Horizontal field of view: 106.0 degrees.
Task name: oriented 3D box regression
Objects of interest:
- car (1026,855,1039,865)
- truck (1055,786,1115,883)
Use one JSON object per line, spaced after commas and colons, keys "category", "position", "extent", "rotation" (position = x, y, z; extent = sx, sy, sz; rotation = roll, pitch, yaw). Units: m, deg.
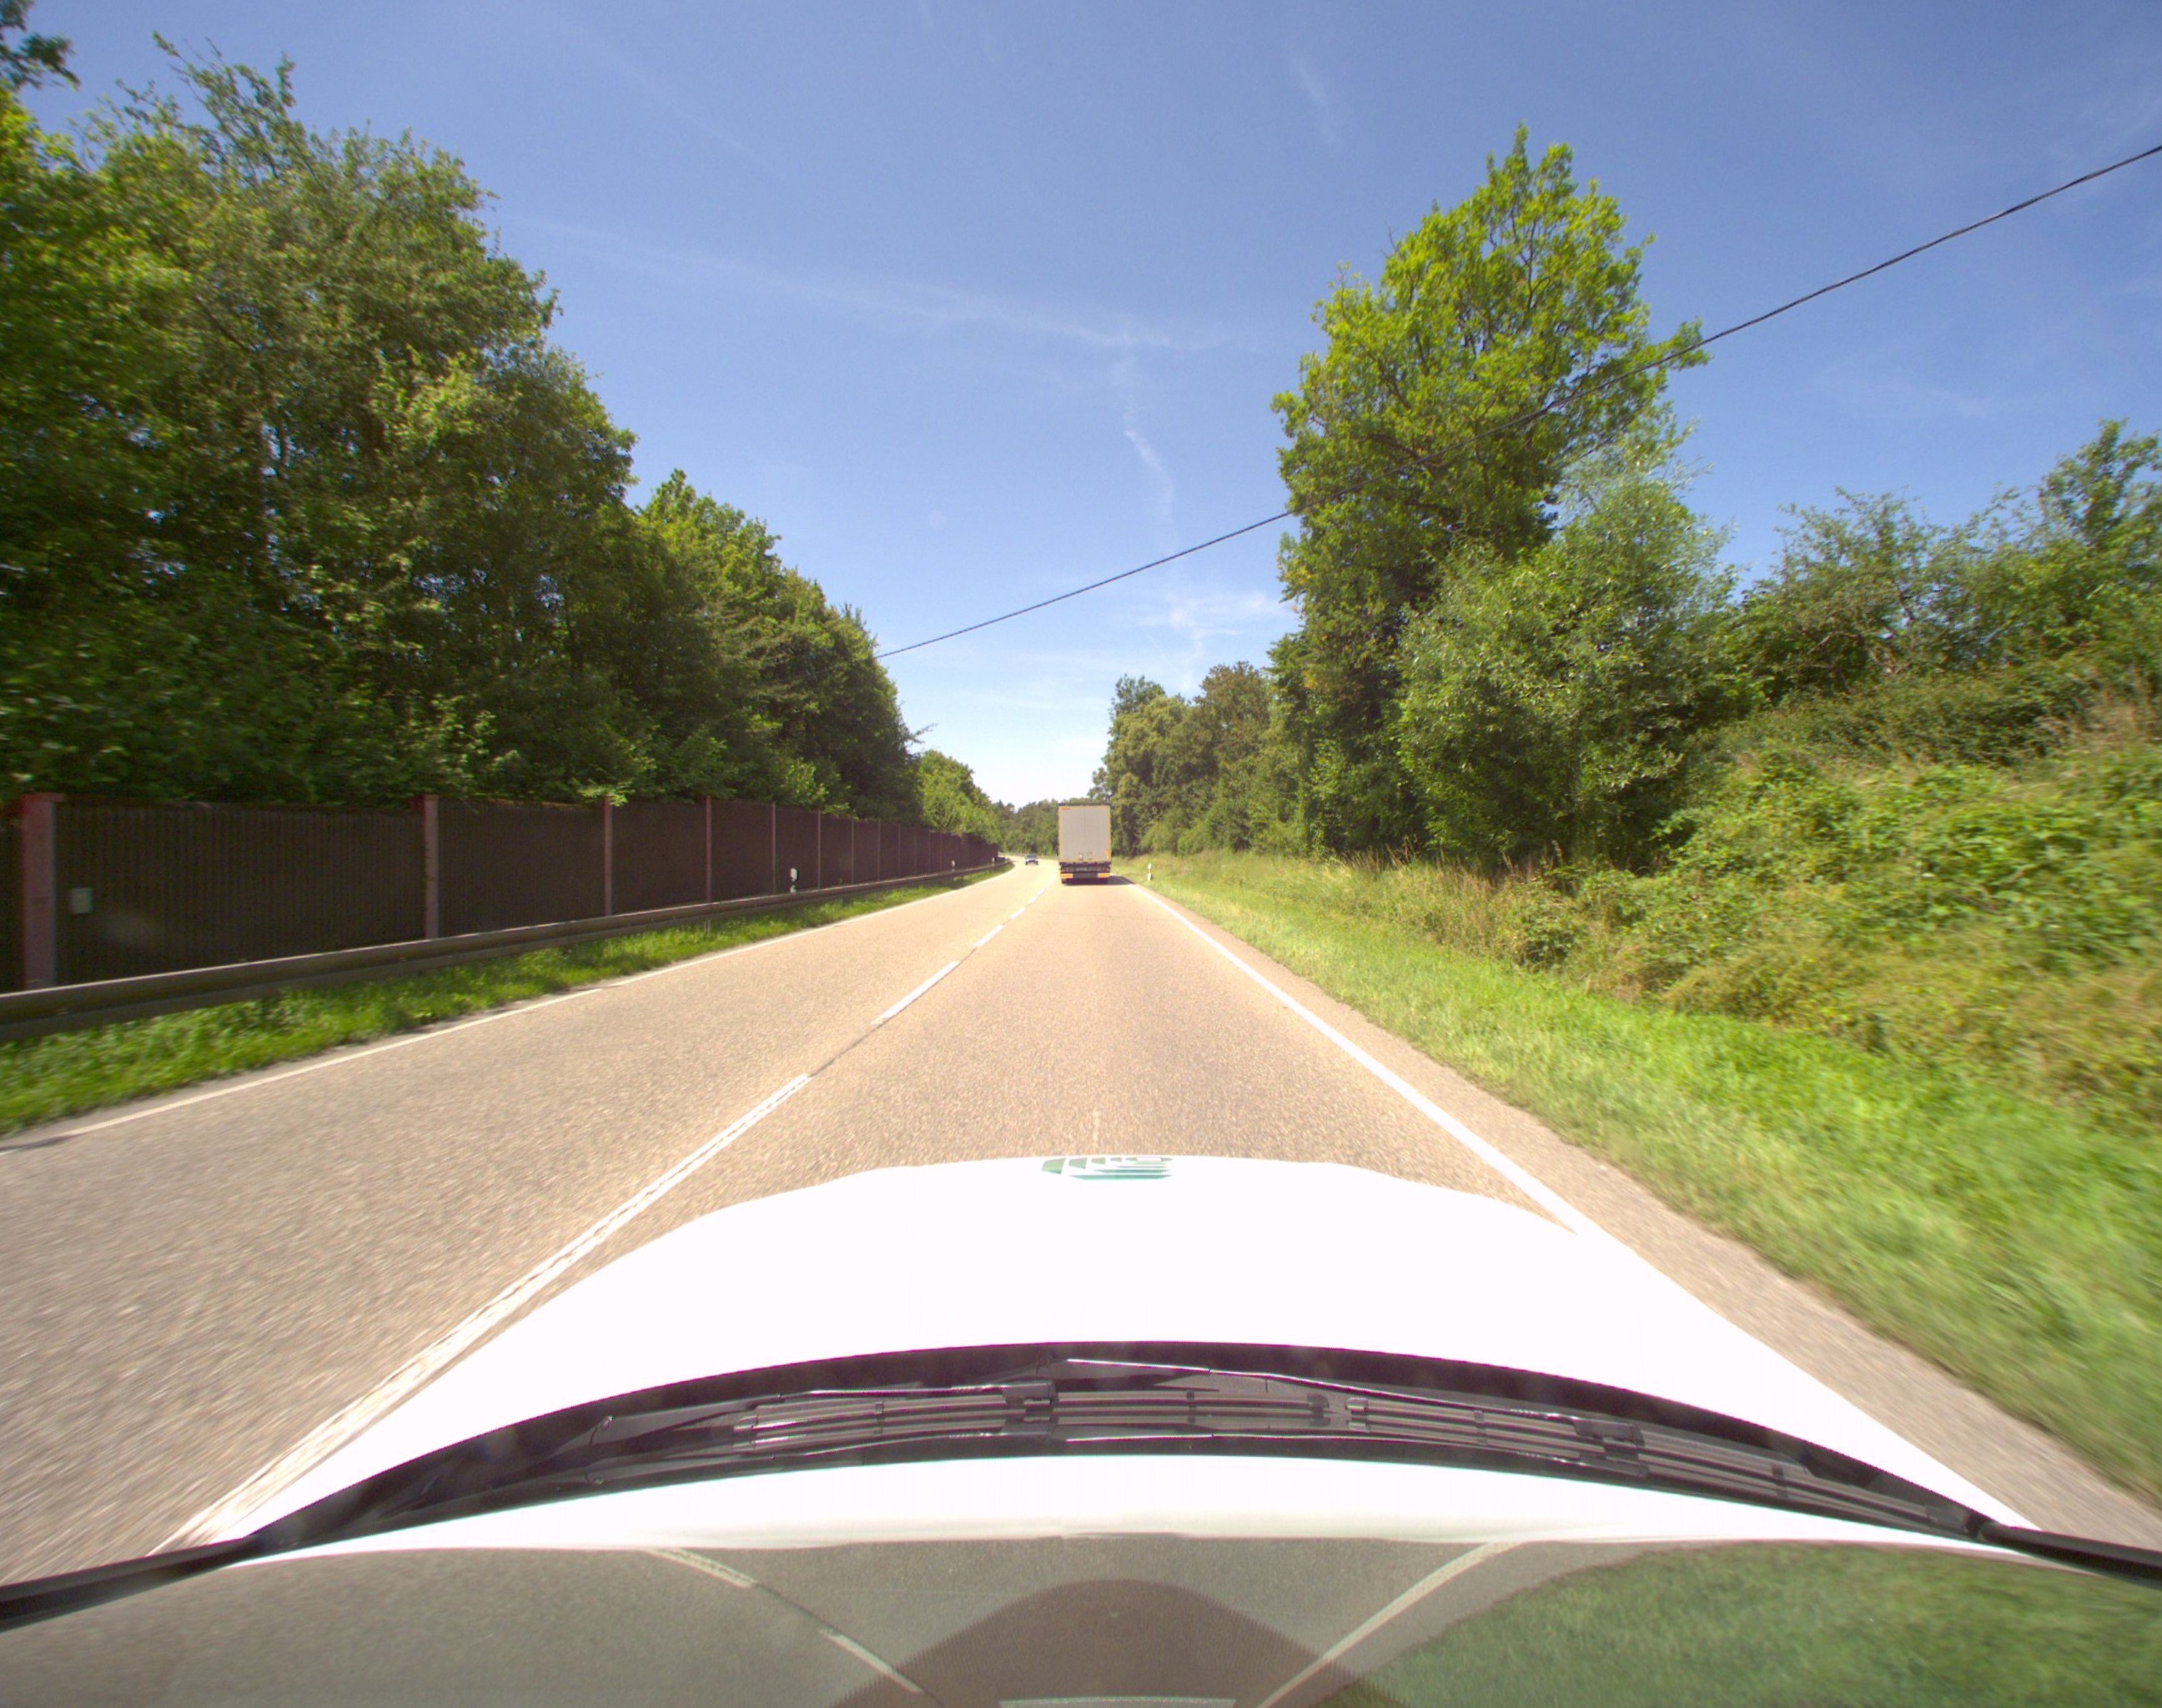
{"category": "car", "position": [-7.030, 0.846, 117.273], "extent": [1.615, 1.491, 3.608], "rotation": [-1, 0, -7]}
{"category": "truck", "position": [0.334, -0.879, 42.212], "extent": [2.811, 4.604, 6.668], "rotation": [-1, -1, 2]}
